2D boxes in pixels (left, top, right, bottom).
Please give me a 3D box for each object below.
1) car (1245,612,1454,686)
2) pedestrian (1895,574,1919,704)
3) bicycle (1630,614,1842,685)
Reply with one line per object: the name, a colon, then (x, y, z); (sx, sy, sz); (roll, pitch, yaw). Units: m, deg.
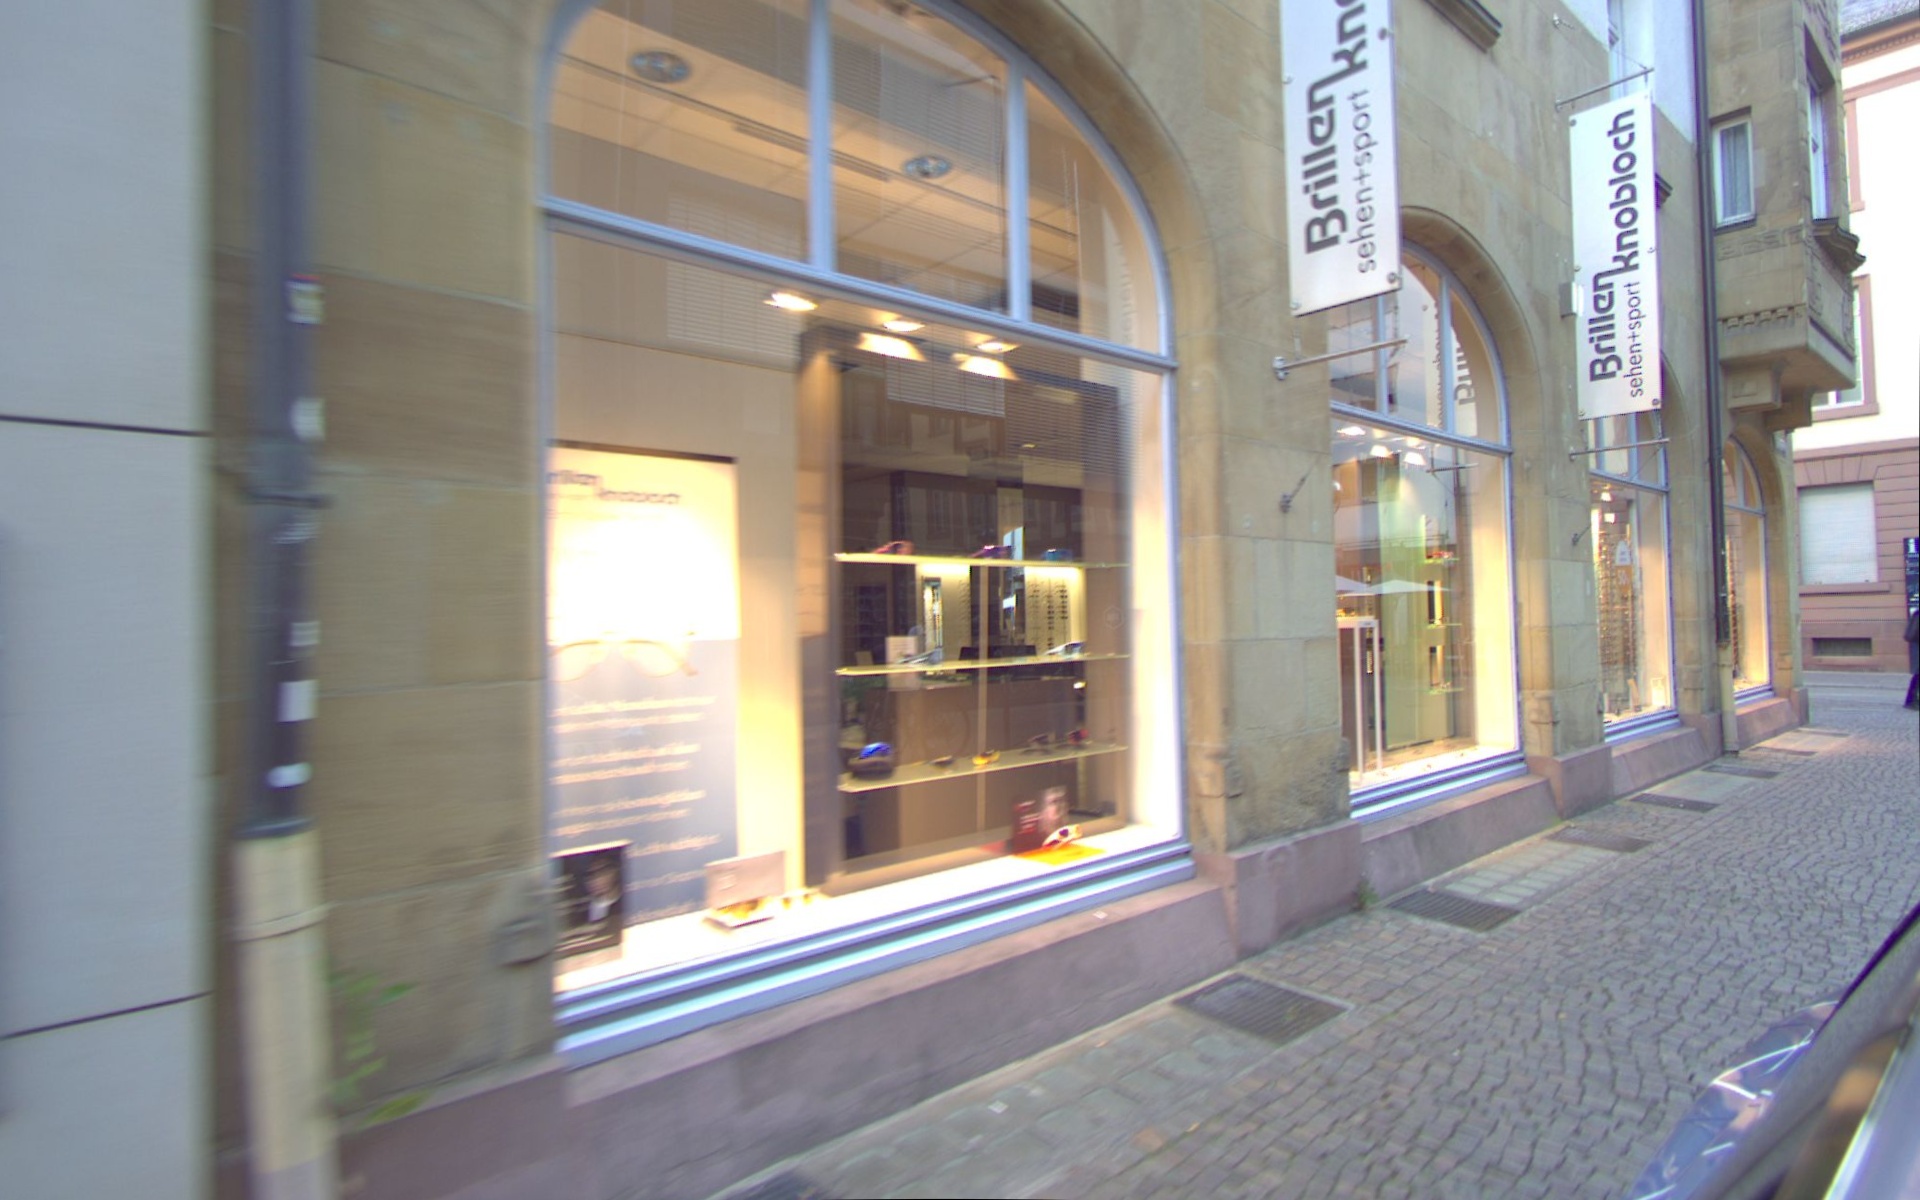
car: (8.475, 1.038, 22.287); (1.621, 1.461, 3.995); (0, -1, -39)
pedestrian: (13.839, 0.534, 14.144); (0.961, 1.808, 0.731); (-2, -2, 34)
bicycle: (15.131, 0.930, 19.860); (0.906, 1.276, 3.153); (1, -2, -40)
